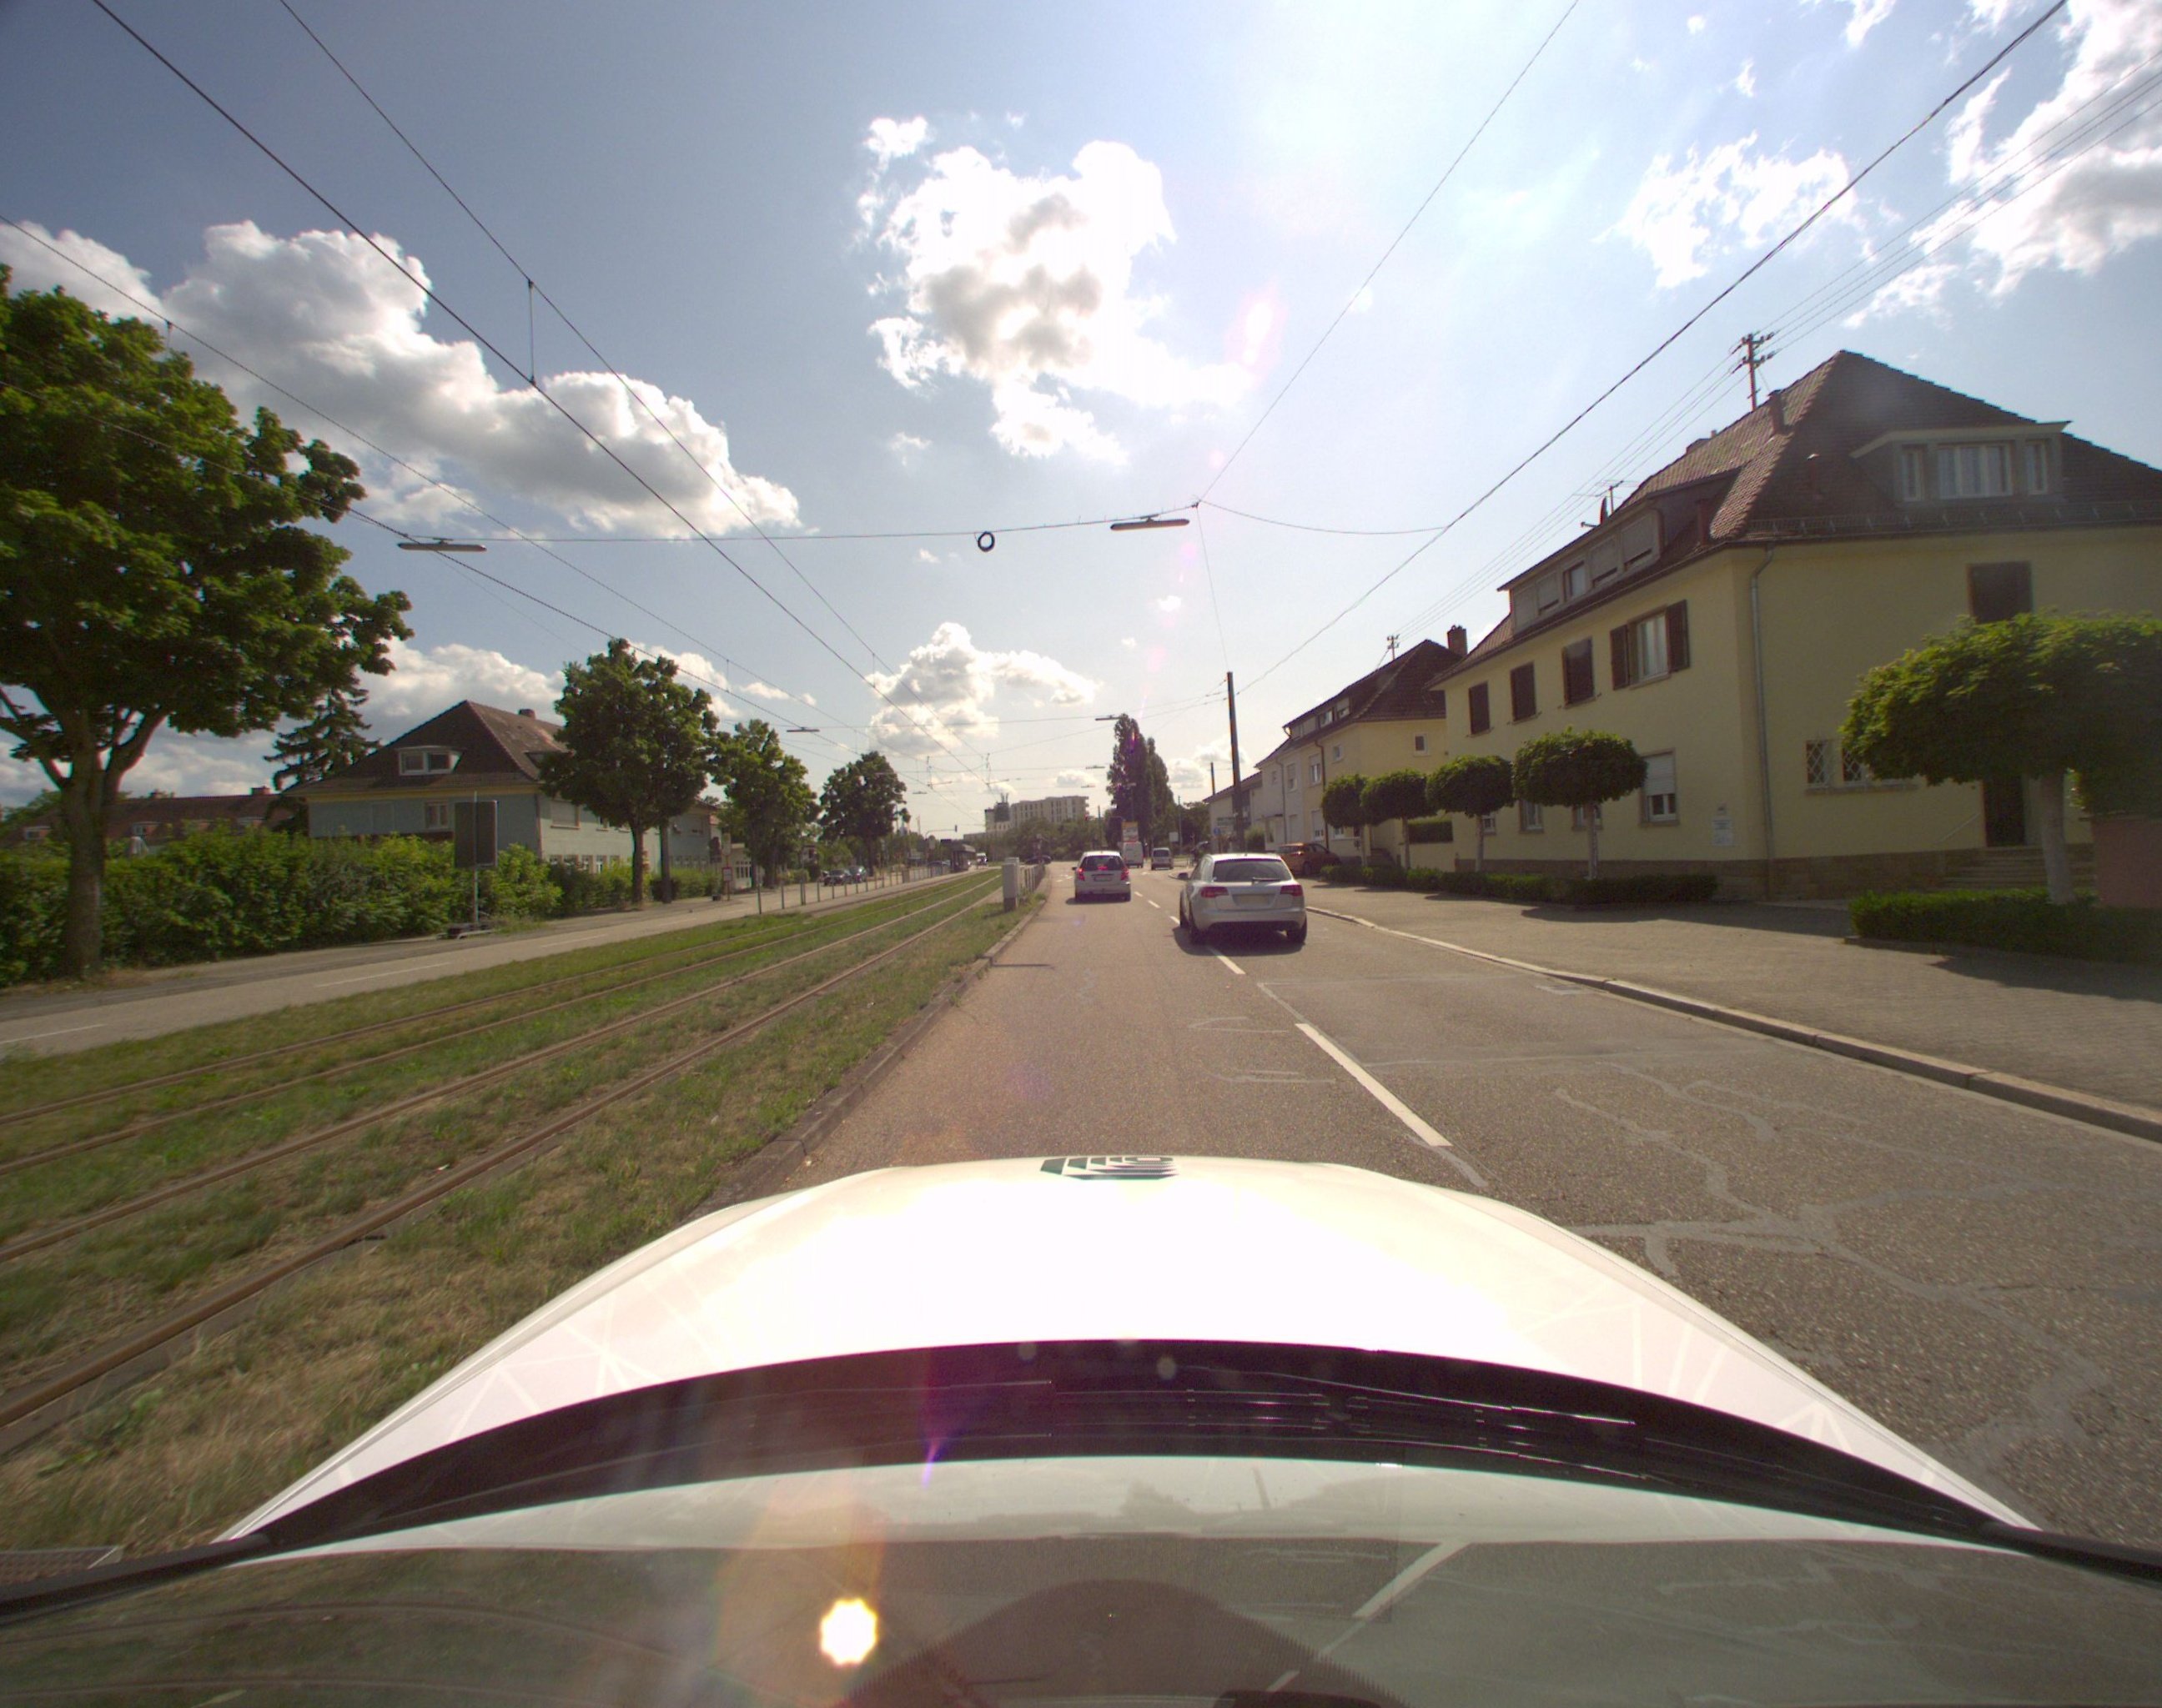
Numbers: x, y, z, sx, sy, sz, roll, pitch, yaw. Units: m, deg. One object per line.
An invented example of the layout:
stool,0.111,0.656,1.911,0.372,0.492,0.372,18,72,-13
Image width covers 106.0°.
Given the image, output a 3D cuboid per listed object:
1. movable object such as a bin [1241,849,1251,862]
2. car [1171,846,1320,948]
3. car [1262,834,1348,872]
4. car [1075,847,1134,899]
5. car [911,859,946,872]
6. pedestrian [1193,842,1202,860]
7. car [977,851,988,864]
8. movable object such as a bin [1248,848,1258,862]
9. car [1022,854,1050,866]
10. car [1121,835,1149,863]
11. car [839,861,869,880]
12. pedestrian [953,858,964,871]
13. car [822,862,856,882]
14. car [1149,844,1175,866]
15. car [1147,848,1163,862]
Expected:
movable object such as a bin,11.473,0.087,56.624,0.444,0.895,0.544,-3,0,-8
car,2.739,0.638,14.612,1.847,1.492,4.538,-2,0,2
car,10.406,-0.080,37.728,4.117,1.457,1.892,-5,2,-43
car,0.736,0.559,26.857,1.781,1.577,4.094,-1,0,0
car,-22.592,1.687,120.772,4.847,1.660,2.000,-2,0,0
pedestrian,11.906,-0.290,83.374,0.719,1.782,0.703,-5,0,-1
car,-19.070,0.684,157.608,1.992,2.606,4.866,-1,0,-7
movable object such as a bin,11.973,0.054,56.653,0.440,0.935,0.548,-3,0,-8
car,-7.329,0.939,131.674,4.339,1.738,2.000,-1,0,0
car,5.347,-0.479,81.453,2.036,2.557,5.225,-3,0,-3
car,-21.499,1.536,77.294,2.059,1.614,4.739,-3,0,-8
pedestrian,-13.228,1.116,87.764,1.056,1.376,0.859,-2,0,-3
car,-21.111,1.557,71.078,1.781,1.584,3.929,-3,0,-1
car,6.803,0.065,68.065,1.875,1.731,4.103,-3,0,7
car,9.177,0.105,100.738,1.875,1.637,4.102,-2,0,7
